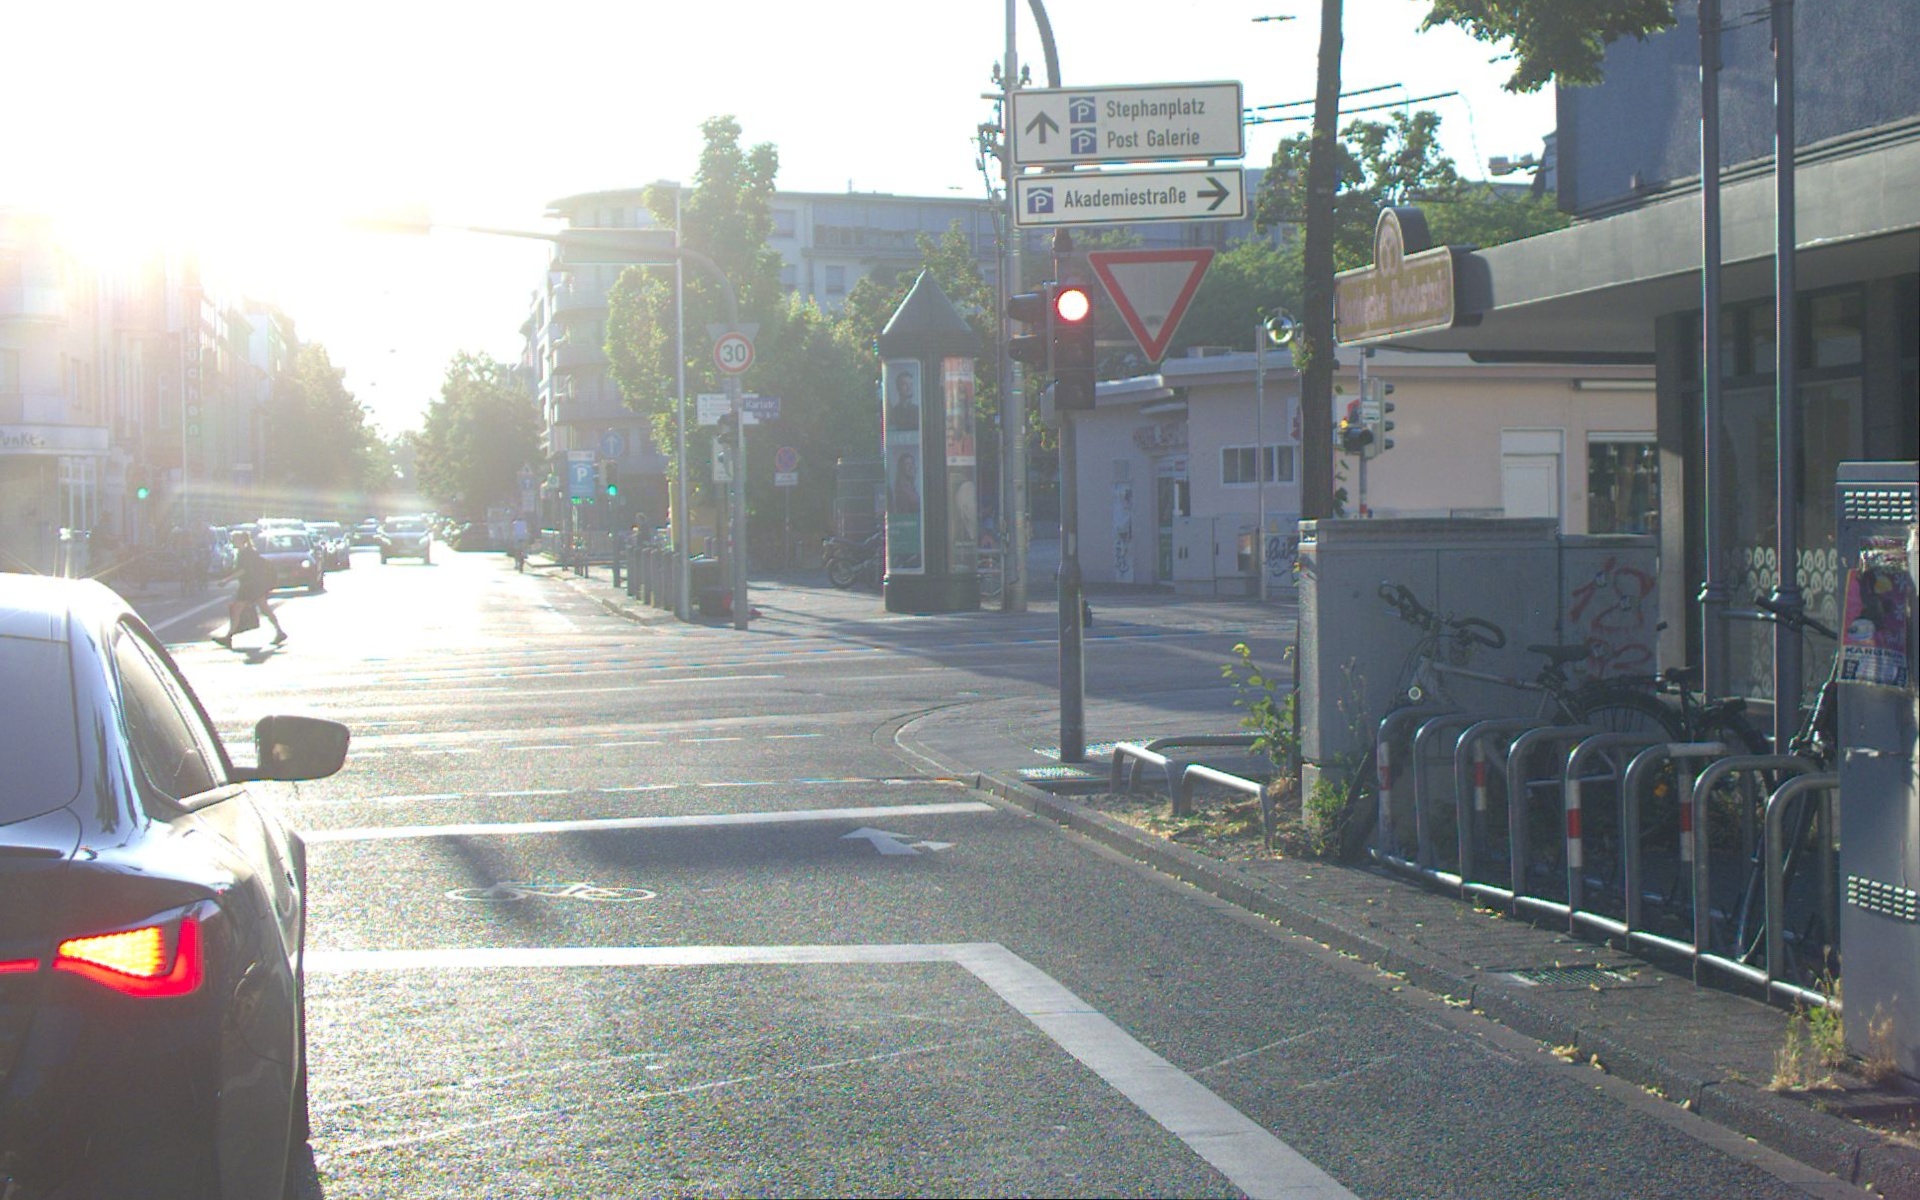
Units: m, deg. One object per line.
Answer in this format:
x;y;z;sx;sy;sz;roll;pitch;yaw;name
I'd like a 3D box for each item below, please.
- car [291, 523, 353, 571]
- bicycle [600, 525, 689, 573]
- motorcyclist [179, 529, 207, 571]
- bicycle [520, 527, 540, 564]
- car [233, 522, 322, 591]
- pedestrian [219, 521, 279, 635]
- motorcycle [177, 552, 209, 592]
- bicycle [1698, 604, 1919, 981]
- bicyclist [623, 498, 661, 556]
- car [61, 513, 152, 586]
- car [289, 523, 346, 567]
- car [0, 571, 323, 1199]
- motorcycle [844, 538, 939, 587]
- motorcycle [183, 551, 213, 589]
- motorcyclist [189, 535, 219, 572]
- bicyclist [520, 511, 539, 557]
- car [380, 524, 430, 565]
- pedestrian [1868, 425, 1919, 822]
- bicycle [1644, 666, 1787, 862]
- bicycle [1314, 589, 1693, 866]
-20.952;-1.763;113.036;1.817;1.514;4.001;-1;2;-8;car
-8.173;-1.314;88.998;2.212;1.198;0.620;1;1;3;bicycle
-18.261;-1.198;81.867;0.575;0.992;0.703;1;1;-8;motorcyclist
-13.744;-1.732;109.864;0.550;1.155;2.145;0;1;-10;bicycle
-15.949;-1.041;80.522;1.817;1.514;4.001;-1;2;-8;car
-9.607;-0.302;46.446;0.732;1.524;0.473;0;1;-19;pedestrian
-18.315;-0.674;82.144;0.575;0.912;2.201;1;1;-8;motorcycle
3.220;0.633;11.406;1.440;1.216;0.383;1;1;-7;bicycle
-8.233;-1.889;88.997;0.884;1.500;0.612;1;1;3;bicyclist
-21.593;-1.293;87.102;1.817;1.782;4.001;-1;2;-8;car
-23.000;-1.988;123.238;1.817;1.514;4.001;-1;2;-8;car
-2.121;0.680;6.500;1.736;1.424;4.225;0;1;-10;car
-1.352;-0.744;67.884;1.668;0.935;0.856;-1;2;-19;motorcycle
-19.160;-0.764;86.424;0.575;0.912;2.201;1;1;-8;motorcycle
-18.977;-1.178;86.360;0.575;0.912;2.201;1;1;-8;motorcyclist
-13.760;-2.112;109.940;0.550;1.476;0.723;0;0;-10;bicyclist
-21.401;-2.166;132.695;1.817;1.514;4.001;-1;2;-8;car
4.812;0.094;16.145;0.835;1.835;0.679;-1;1;-8;pedestrian
3.335;0.711;15.236;0.249;0.793;1.116;1;1;-7;bicycle
2.393;0.553;15.161;1.612;1.167;0.318;-1;1;-6;bicycle
